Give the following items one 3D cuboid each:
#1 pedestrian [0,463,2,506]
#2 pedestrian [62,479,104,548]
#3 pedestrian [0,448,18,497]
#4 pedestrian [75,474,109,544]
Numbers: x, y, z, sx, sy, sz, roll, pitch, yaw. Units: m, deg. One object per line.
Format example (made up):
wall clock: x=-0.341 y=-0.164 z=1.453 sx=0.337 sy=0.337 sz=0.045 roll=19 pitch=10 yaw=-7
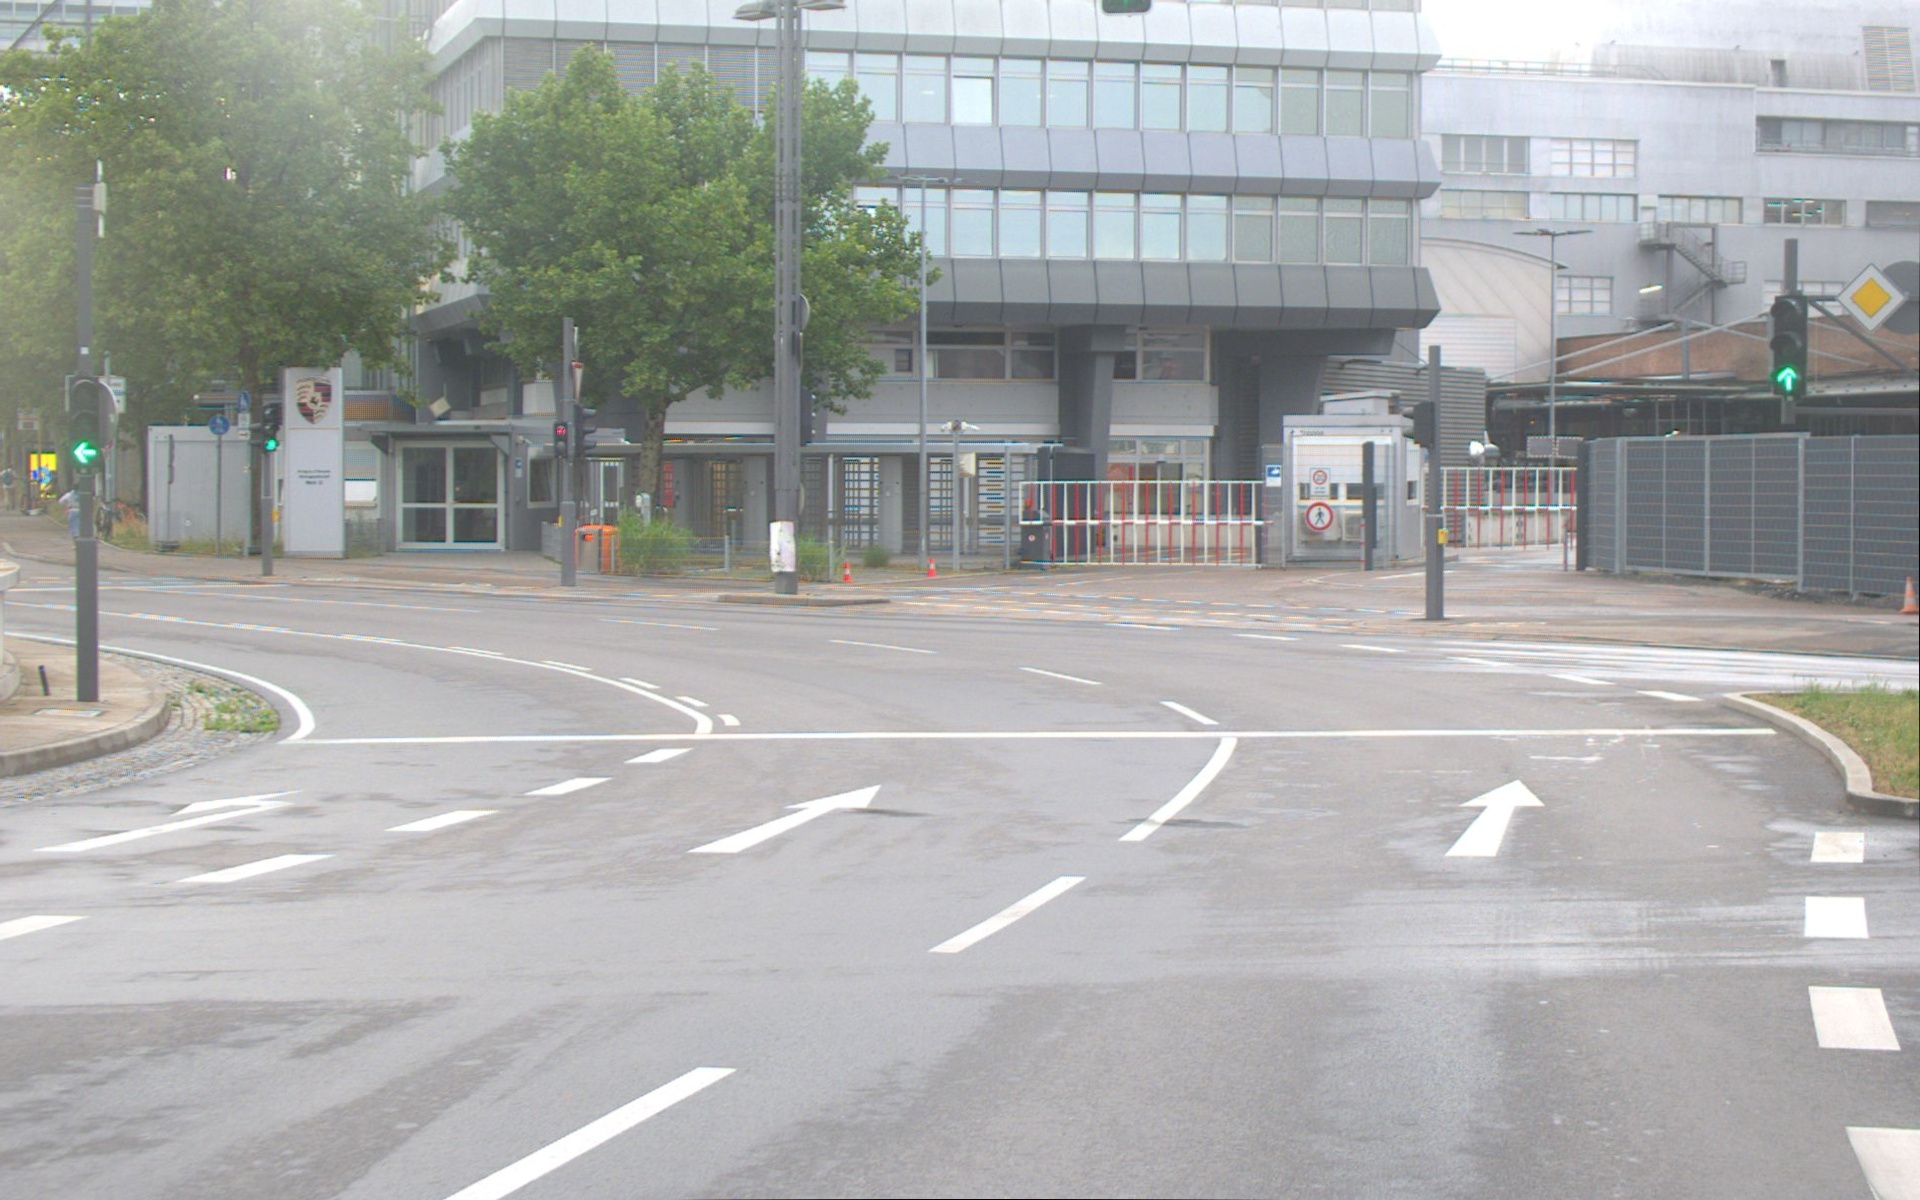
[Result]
pedestrian: x=-45.071 y=-5.372 z=160.090 sx=0.765 sy=2.007 sz=0.692 roll=0 pitch=1 yaw=0
pedestrian: x=-19.527 y=-1.932 z=76.562 sx=0.831 sy=1.515 sz=0.842 roll=0 pitch=2 yaw=-10
pedestrian: x=-34.557 y=-4.611 z=124.669 sx=0.711 sy=1.734 sz=0.760 roll=2 pitch=0 yaw=-17
pedestrian: x=-19.761 y=-2.080 z=78.299 sx=0.709 sy=1.586 sz=0.841 roll=0 pitch=2 yaw=-13
